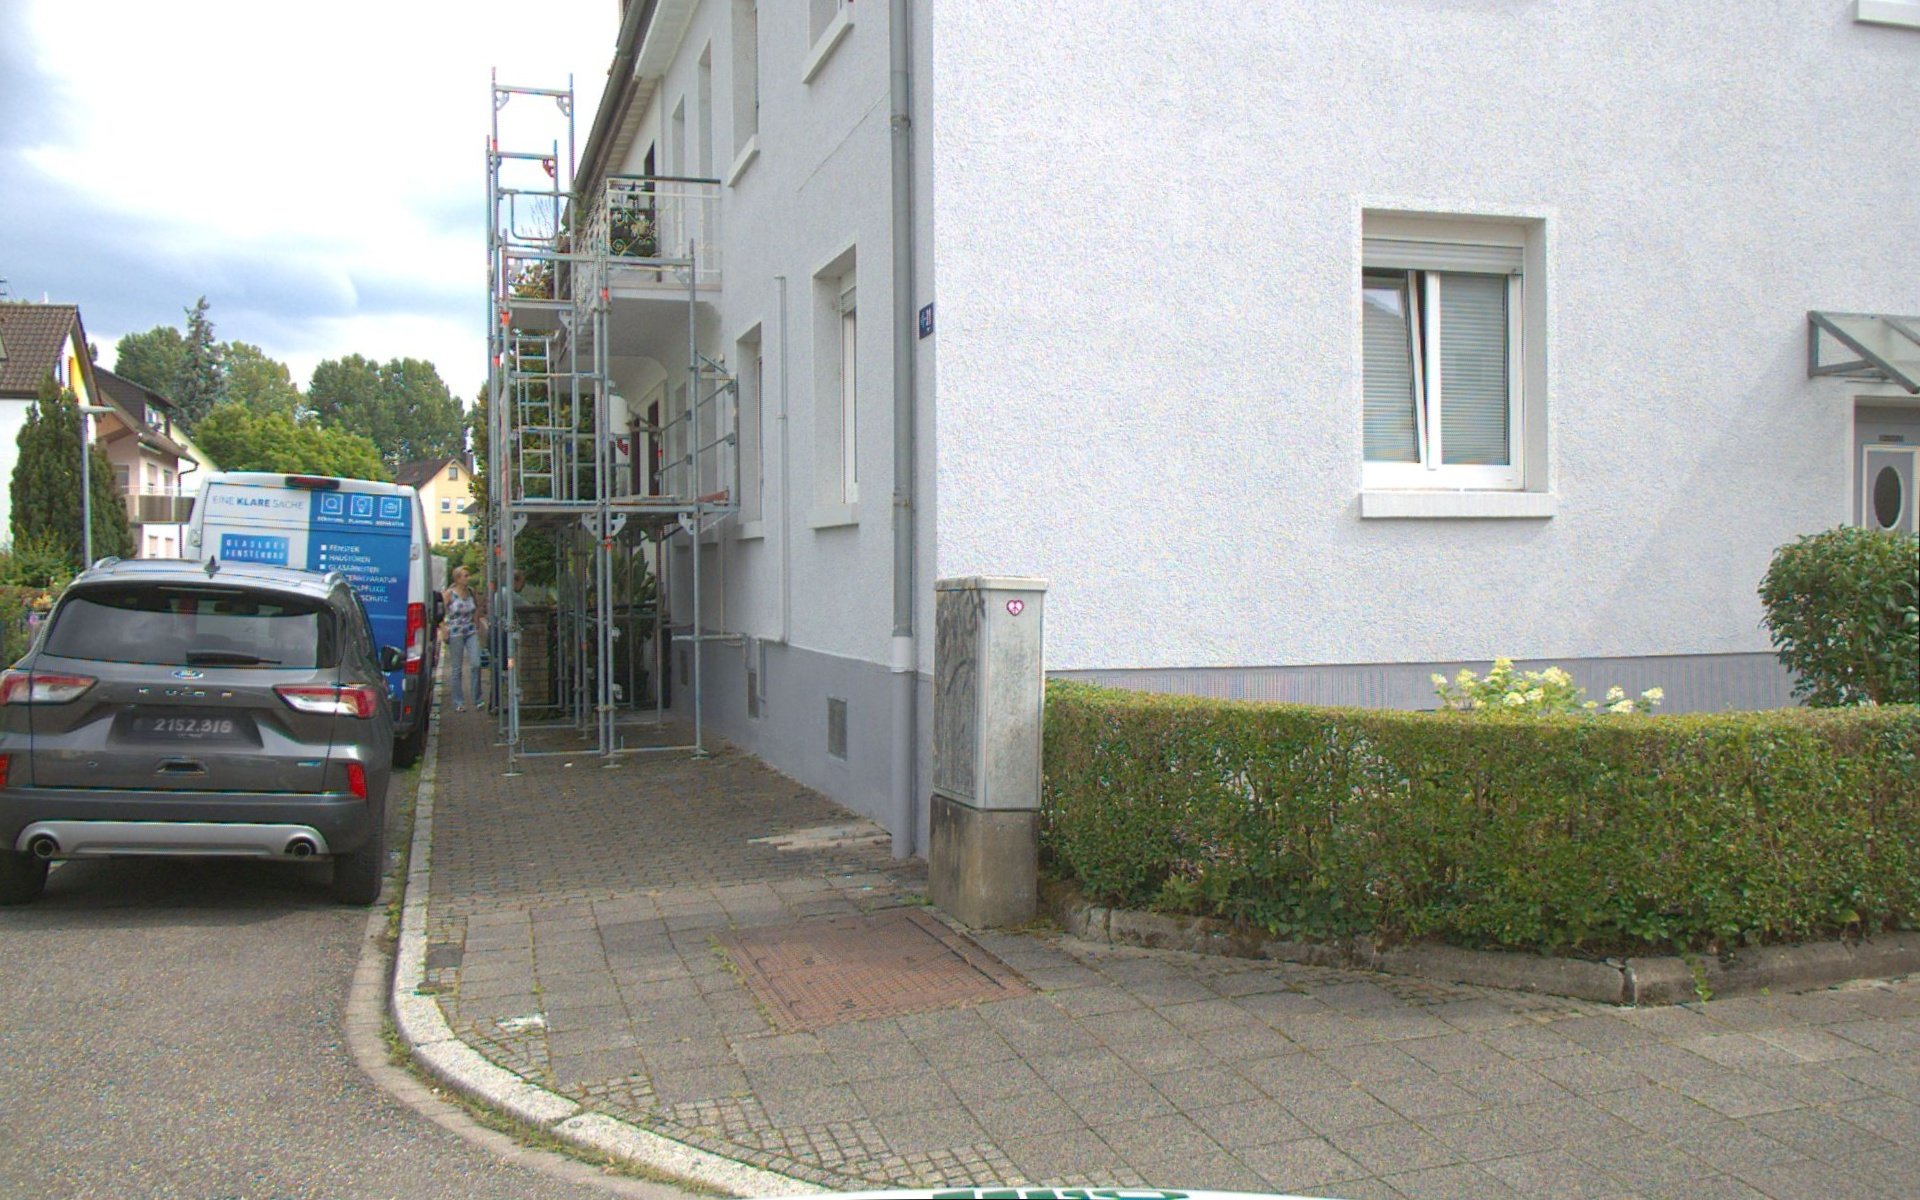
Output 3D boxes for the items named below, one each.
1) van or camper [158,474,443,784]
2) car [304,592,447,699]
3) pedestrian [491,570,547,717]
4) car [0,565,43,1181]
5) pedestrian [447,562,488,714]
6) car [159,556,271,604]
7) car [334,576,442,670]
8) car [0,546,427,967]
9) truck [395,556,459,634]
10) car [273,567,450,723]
[{"bbox_3d":[-6.188,0.181,16.100,2.158,2.502,5.029,-1,1,-18],"label":"van or camper"},{"bbox_3d":[-9.362,0.654,26.545,1.964,1.481,4.317,-1,1,-20],"label":"car"},{"bbox_3d":[-5.123,0.498,19.204,0.591,1.658,0.622,-1,-1,-17],"label":"pedestrian"},{"bbox_3d":[-2.922,0.680,2.302,1.784,1.546,4.030,0,0,-12],"label":"car"},{"bbox_3d":[-5.918,0.450,19.868,0.401,1.793,0.510,-1,-1,-21],"label":"pedestrian"},{"bbox_3d":[-29.698,-0.812,66.040,3.930,1.803,1.858,-1,-1,-21],"label":"car"},{"bbox_3d":[-11.842,0.413,34.254,1.964,1.780,4.317,-1,1,-20],"label":"car"},{"bbox_3d":[-4.091,0.626,9.253,1.964,1.757,4.317,-1,1,-20],"label":"car"},{"bbox_3d":[-19.554,-0.214,60.532,2.098,2.703,4.559,-1,1,-19],"label":"truck"},{"bbox_3d":[-7.831,0.495,21.747,1.964,1.803,4.317,-1,1,-20],"label":"car"}]
